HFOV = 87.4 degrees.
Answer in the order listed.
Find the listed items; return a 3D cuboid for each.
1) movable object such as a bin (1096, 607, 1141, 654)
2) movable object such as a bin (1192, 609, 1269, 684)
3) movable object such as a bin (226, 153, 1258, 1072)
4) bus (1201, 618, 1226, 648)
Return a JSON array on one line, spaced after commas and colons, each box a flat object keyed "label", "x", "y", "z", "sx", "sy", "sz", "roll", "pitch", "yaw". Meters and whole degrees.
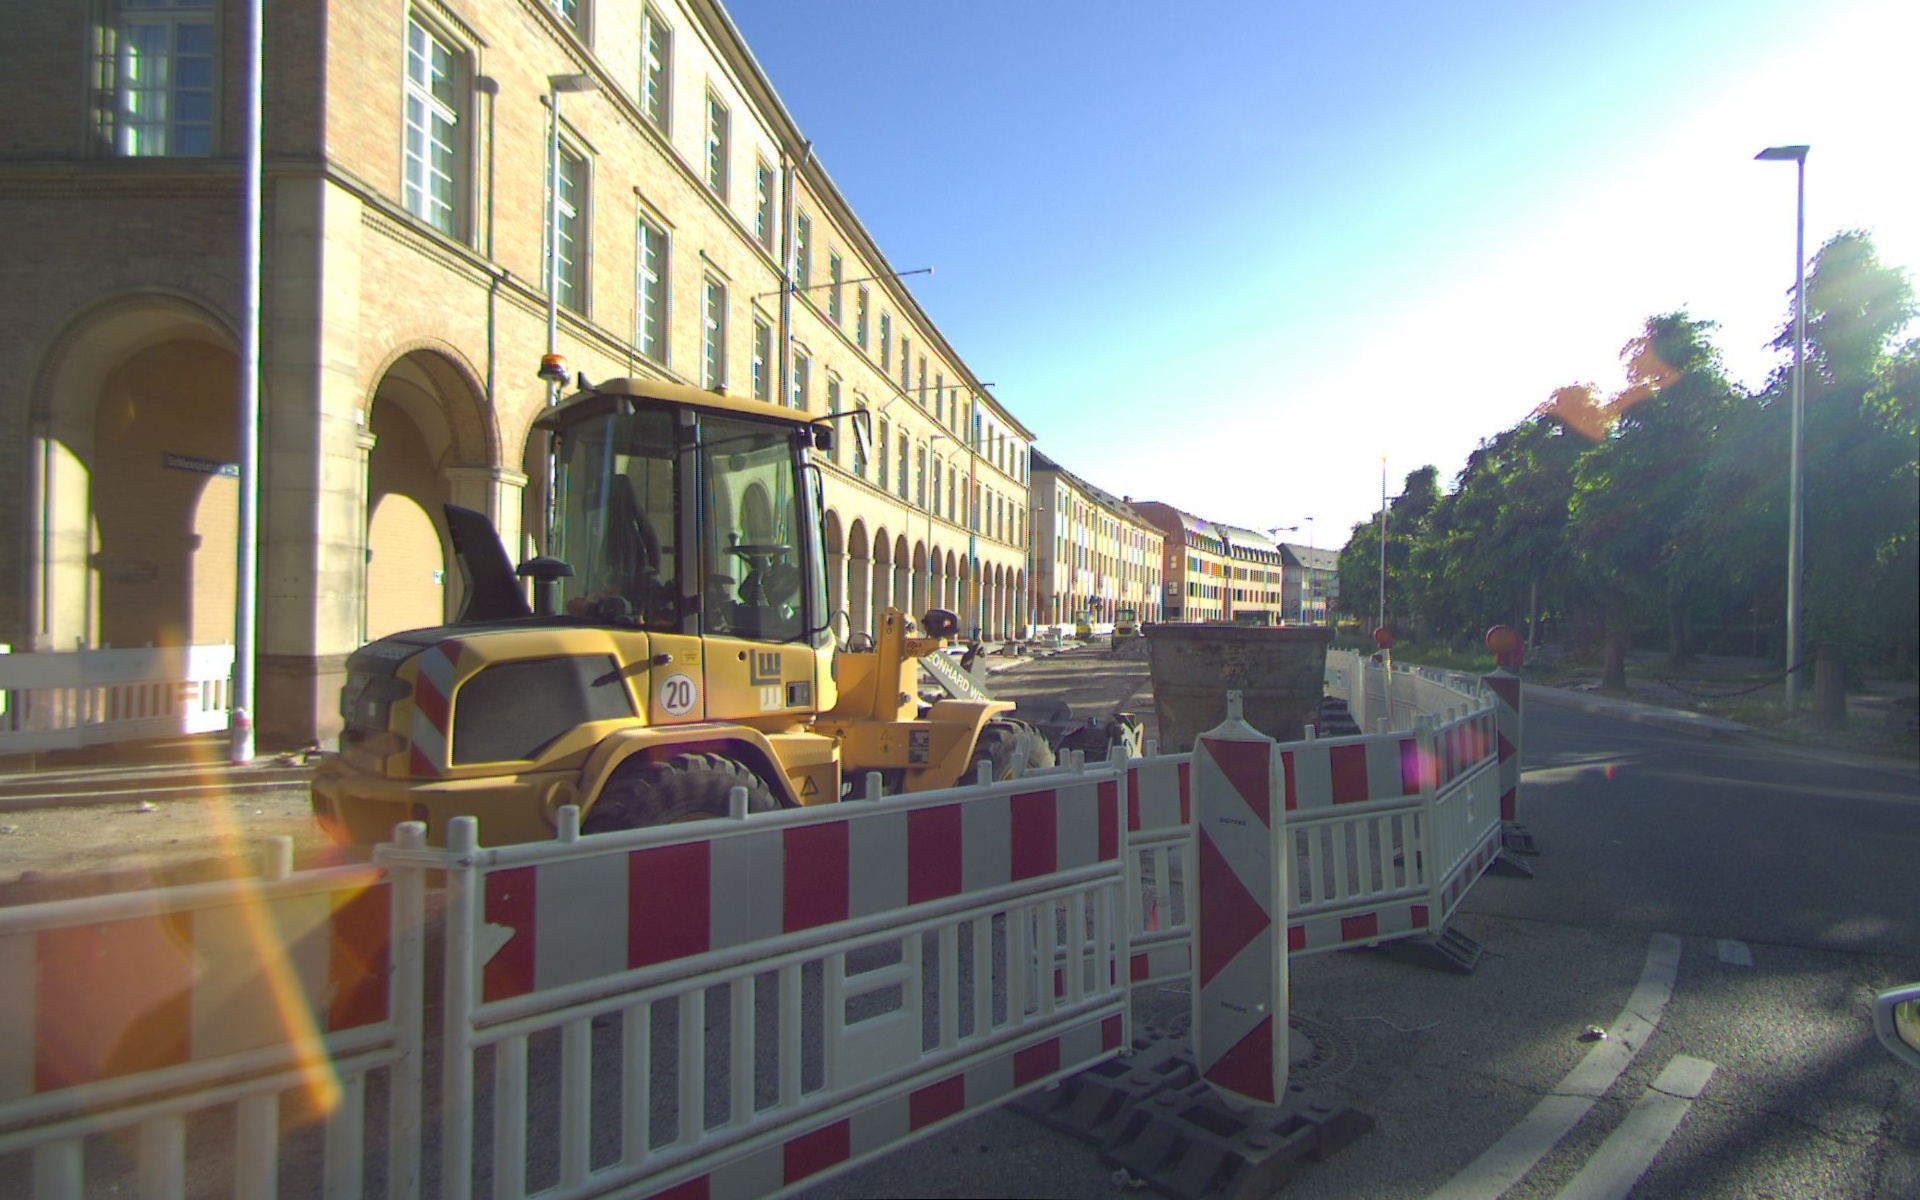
[{"label": "movable object such as a bin", "x": 9.100, "y": 1.694, "z": 57.345, "sx": 2.039, "sy": 2.508, "sz": 4.618, "roll": 1, "pitch": 0, "yaw": 15}, {"label": "movable object such as a bin", "x": 7.966, "y": 1.268, "z": 29.515, "sx": 2.015, "sy": 1.975, "sz": 4.336, "roll": 1, "pitch": 0, "yaw": 16}, {"label": "movable object such as a bin", "x": -0.782, "y": 0.136, "z": 6.329, "sx": 5.891, "sy": 3.071, "sz": 2.534, "roll": 2, "pitch": -2, "yaw": -44}, {"label": "bus", "x": 24.762, "y": 3.216, "z": 97.926, "sx": 2.038, "sy": 2.721, "sz": 4.686, "roll": 1, "pitch": -3, "yaw": 18}]
